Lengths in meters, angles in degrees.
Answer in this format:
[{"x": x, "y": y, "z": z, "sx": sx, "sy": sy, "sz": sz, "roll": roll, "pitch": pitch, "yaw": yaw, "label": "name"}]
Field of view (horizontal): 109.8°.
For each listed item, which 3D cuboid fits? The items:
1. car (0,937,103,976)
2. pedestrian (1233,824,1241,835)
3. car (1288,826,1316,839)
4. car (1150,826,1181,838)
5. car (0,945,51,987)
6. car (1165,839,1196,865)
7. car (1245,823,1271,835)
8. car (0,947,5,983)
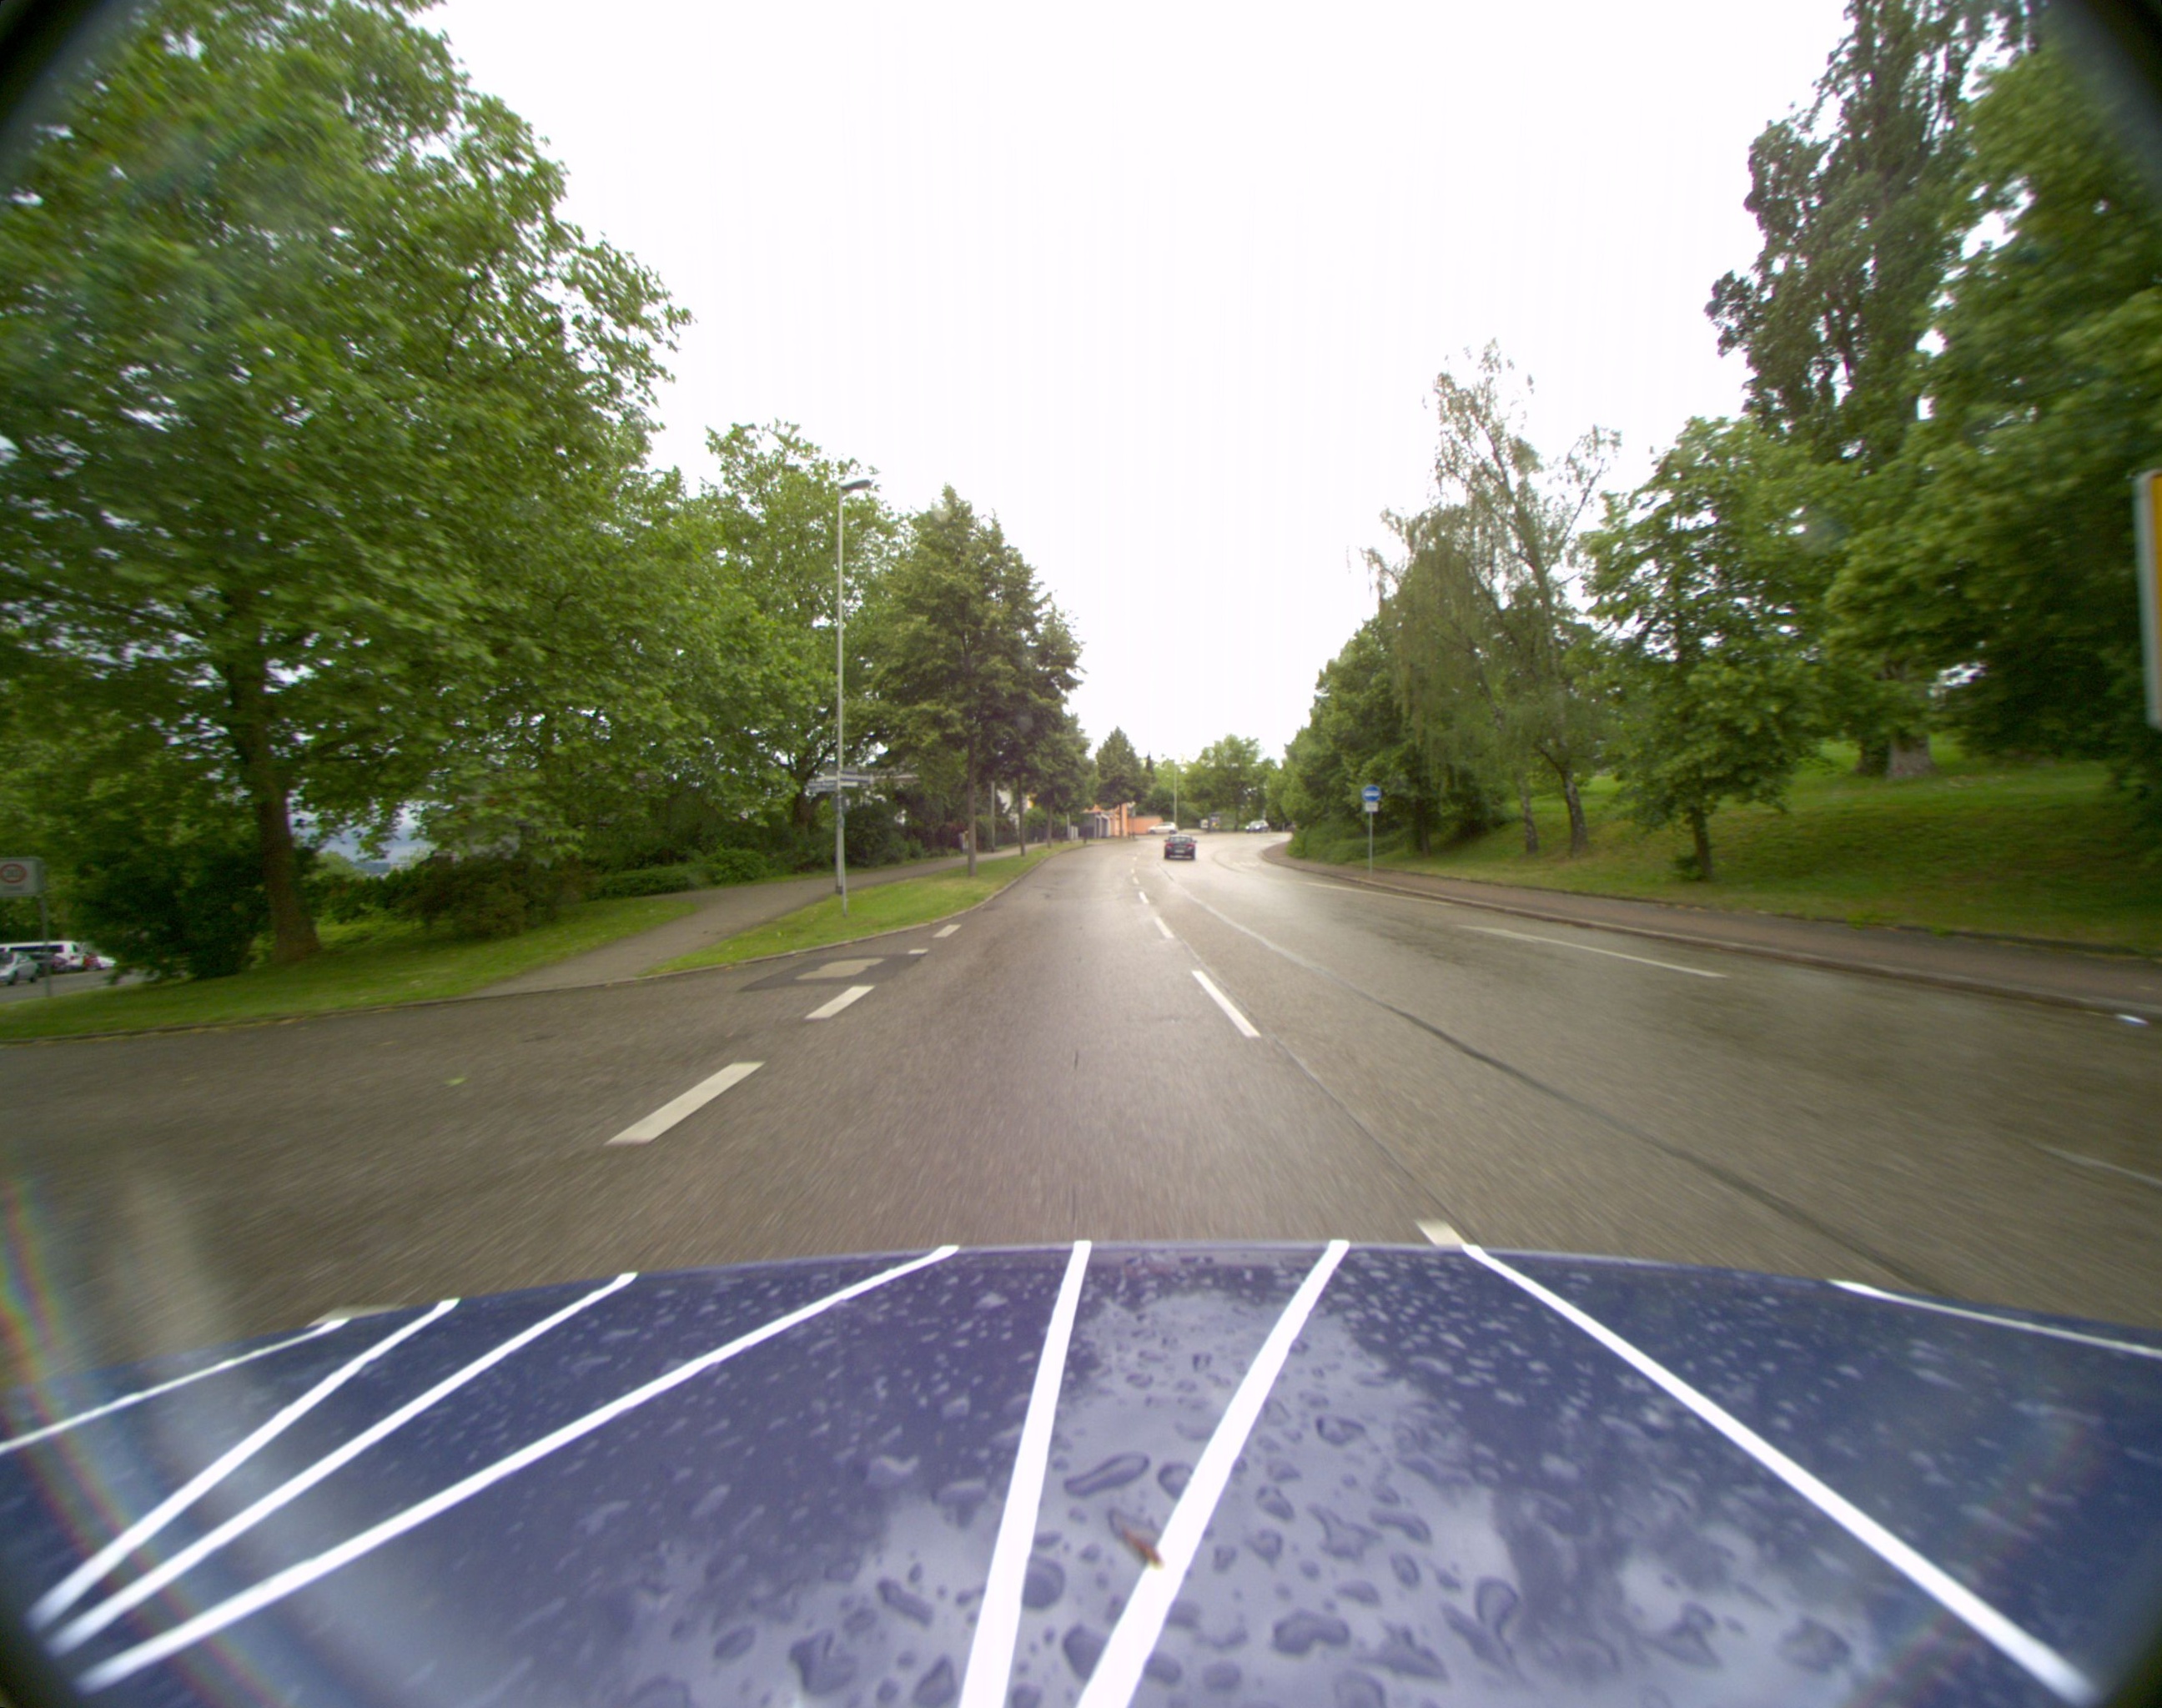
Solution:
[{"x": -63.969, "y": 6.302, "z": 46.701, "sx": 4.312, "sy": 1.829, "sz": 2.159, "roll": -3, "pitch": 1, "yaw": -41, "label": "car"}, {"x": 22.937, "y": -3.615, "z": 111.759, "sx": 0.926, "sy": 1.645, "sz": 1.099, "roll": 1, "pitch": 2, "yaw": 22, "label": "pedestrian"}, {"x": 27.133, "y": -2.646, "z": 93.348, "sx": 1.811, "sy": 1.568, "sz": 4.694, "roll": 1, "pitch": 3, "yaw": 36, "label": "car"}, {"x": 11.184, "y": -2.937, "z": 100.840, "sx": 3.863, "sy": 1.557, "sz": 1.728, "roll": 2, "pitch": 2, "yaw": 12, "label": "car"}, {"x": -47.960, "y": 5.014, "z": 33.779, "sx": 1.730, "sy": 1.455, "sz": 3.989, "roll": -3, "pitch": 1, "yaw": -41, "label": "car"}, {"x": 5.825, "y": -0.135, "z": 44.742, "sx": 1.725, "sy": 1.376, "sz": 4.141, "roll": 1, "pitch": 1, "yaw": 6, "label": "car"}, {"x": 23.294, "y": -3.237, "z": 100.062, "sx": 1.858, "sy": 1.406, "sz": 4.395, "roll": 0, "pitch": 0, "yaw": 34, "label": "car"}, {"x": -57.578, "y": 5.847, "z": 37.723, "sx": 4.312, "sy": 1.829, "sz": 2.351, "roll": -3, "pitch": 1, "yaw": -41, "label": "car"}]
